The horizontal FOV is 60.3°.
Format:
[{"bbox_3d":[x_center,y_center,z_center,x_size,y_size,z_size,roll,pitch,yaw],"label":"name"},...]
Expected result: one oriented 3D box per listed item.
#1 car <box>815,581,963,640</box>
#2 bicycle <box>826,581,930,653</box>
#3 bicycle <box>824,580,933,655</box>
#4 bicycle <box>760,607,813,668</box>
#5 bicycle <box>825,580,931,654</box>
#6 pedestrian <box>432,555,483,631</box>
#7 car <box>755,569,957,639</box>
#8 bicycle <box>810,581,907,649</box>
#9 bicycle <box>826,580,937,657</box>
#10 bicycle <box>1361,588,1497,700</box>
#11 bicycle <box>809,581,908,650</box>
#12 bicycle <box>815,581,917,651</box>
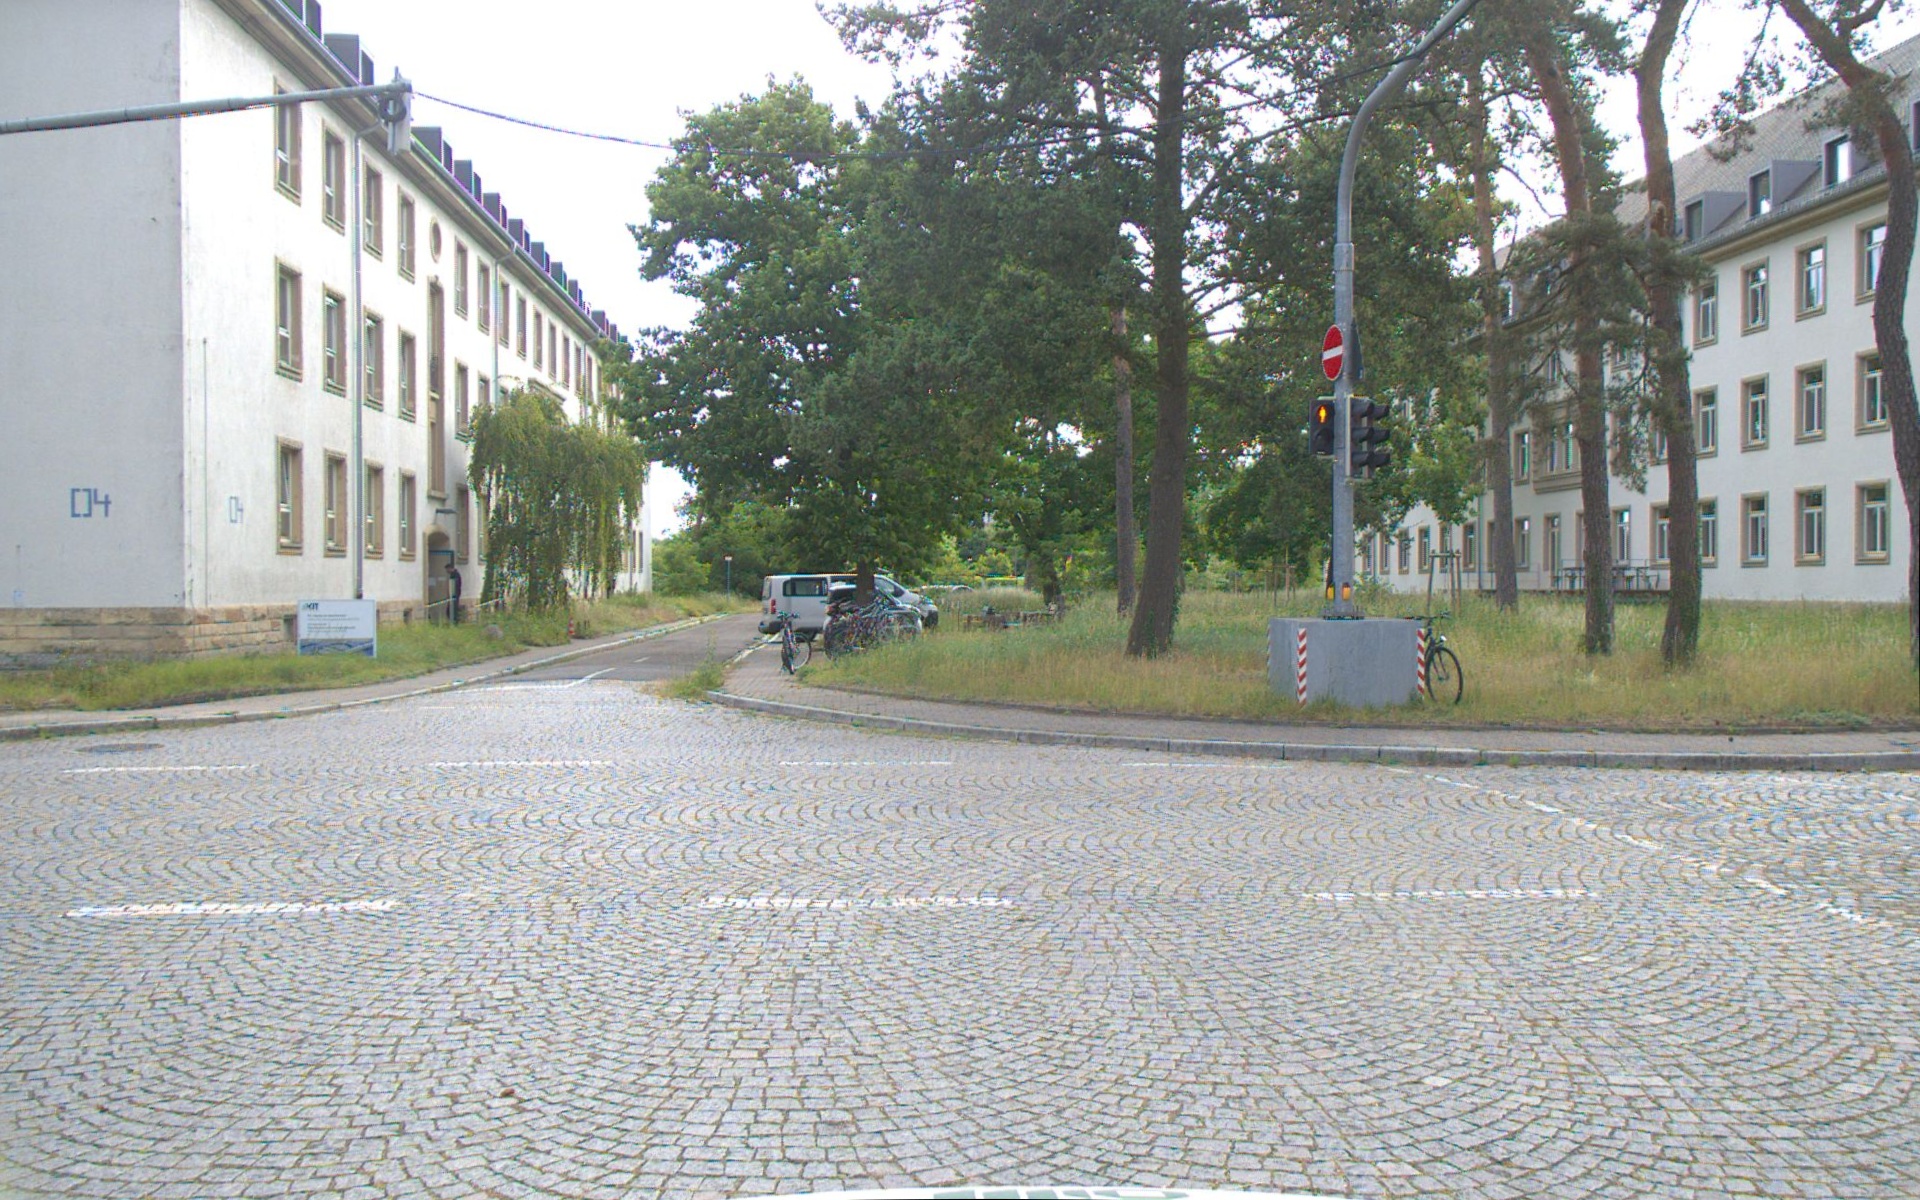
[{"bbox_3d":[-1.973,0.263,45.135,3.859,1.571,1.996,0,0,-9],"label":"car"},{"bbox_3d":[-1.628,0.326,32.710,2.028,1.402,0.619,0,0,-3],"label":"bicycle"},{"bbox_3d":[-1.541,0.330,31.292,2.028,1.402,0.619,0,0,-3],"label":"bicycle"},{"bbox_3d":[-2.997,0.635,28.723,0.605,0.980,2.077,0,1,3],"label":"bicycle"},{"bbox_3d":[-1.584,0.328,31.915,2.028,1.402,0.619,0,0,-3],"label":"bicycle"},{"bbox_3d":[-13.755,-0.200,45.297,1.064,2.049,1.022,0,0,1],"label":"pedestrian"},{"bbox_3d":[-3.066,0.083,48.435,5.600,1.943,2.220,0,0,-16],"label":"car"},{"bbox_3d":[-2.132,0.308,34.963,2.028,1.402,0.619,0,0,-3],"label":"bicycle"},{"bbox_3d":[-1.454,0.333,30.626,2.028,1.402,0.619,0,0,-3],"label":"bicycle"},{"bbox_3d":[5.292,0.466,18.792,0.891,1.197,1.872,0,0,-5],"label":"bicycle"},{"bbox_3d":[-2.098,0.310,34.217,2.028,1.402,0.619,0,0,-3],"label":"bicycle"},{"bbox_3d":[-1.902,0.315,33.491,2.028,1.402,0.619,0,0,-3],"label":"bicycle"}]
